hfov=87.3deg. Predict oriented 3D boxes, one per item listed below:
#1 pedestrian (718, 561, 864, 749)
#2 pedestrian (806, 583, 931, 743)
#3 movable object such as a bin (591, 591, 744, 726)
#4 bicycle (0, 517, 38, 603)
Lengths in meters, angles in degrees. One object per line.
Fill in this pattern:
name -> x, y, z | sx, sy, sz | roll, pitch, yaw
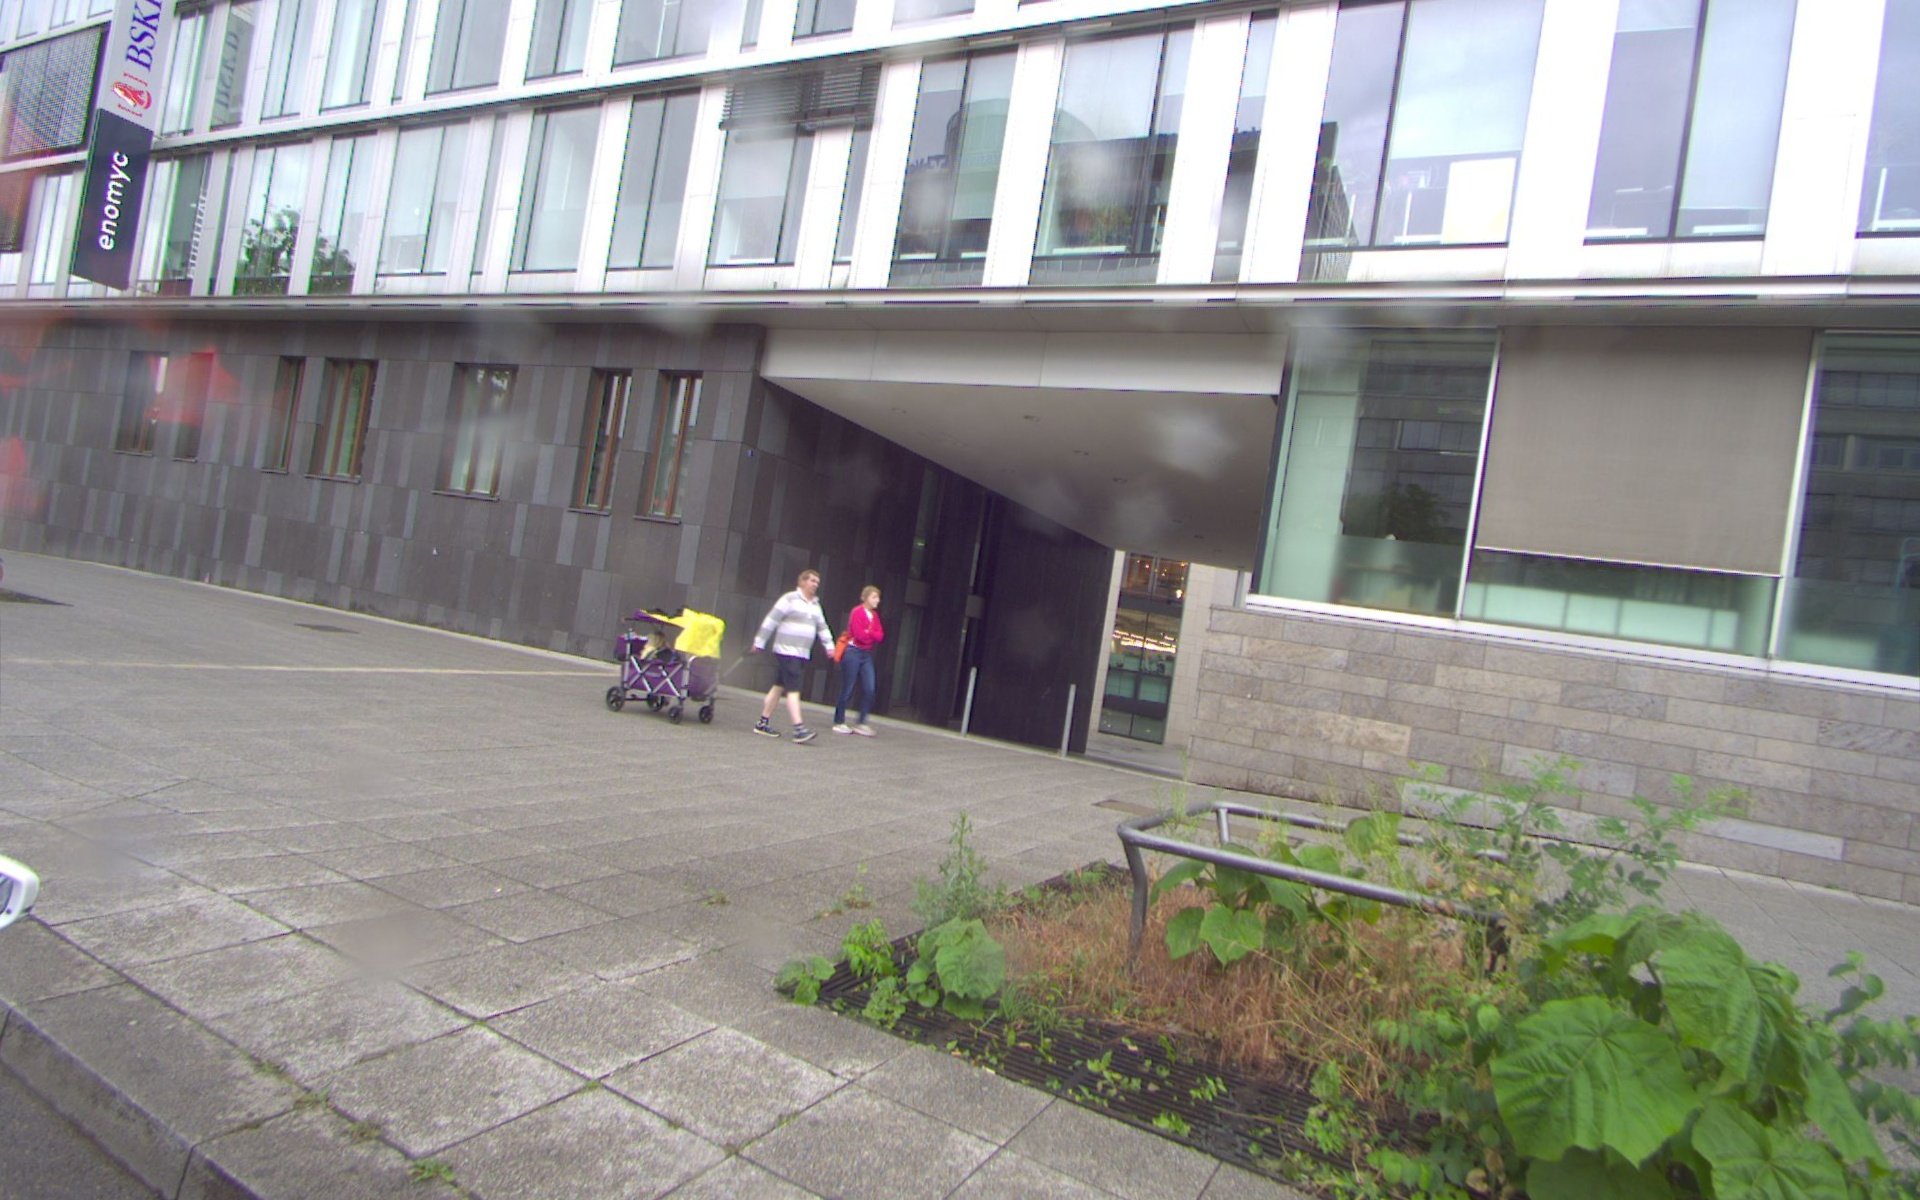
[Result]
pedestrian -> -1.801, 0.573, 10.782 | 1.028, 1.814, 0.901 | 7, 1, 26
pedestrian -> -1.082, 0.734, 11.962 | 1.080, 1.712, 0.719 | 7, 1, 26
movable object such as a bin -> -3.267, 0.636, 11.232 | 1.419, 1.280, 0.732 | 7, 1, 29
bicycle -> -13.063, -0.646, 12.261 | 0.665, 1.069, 2.543 | 7, -2, 27
